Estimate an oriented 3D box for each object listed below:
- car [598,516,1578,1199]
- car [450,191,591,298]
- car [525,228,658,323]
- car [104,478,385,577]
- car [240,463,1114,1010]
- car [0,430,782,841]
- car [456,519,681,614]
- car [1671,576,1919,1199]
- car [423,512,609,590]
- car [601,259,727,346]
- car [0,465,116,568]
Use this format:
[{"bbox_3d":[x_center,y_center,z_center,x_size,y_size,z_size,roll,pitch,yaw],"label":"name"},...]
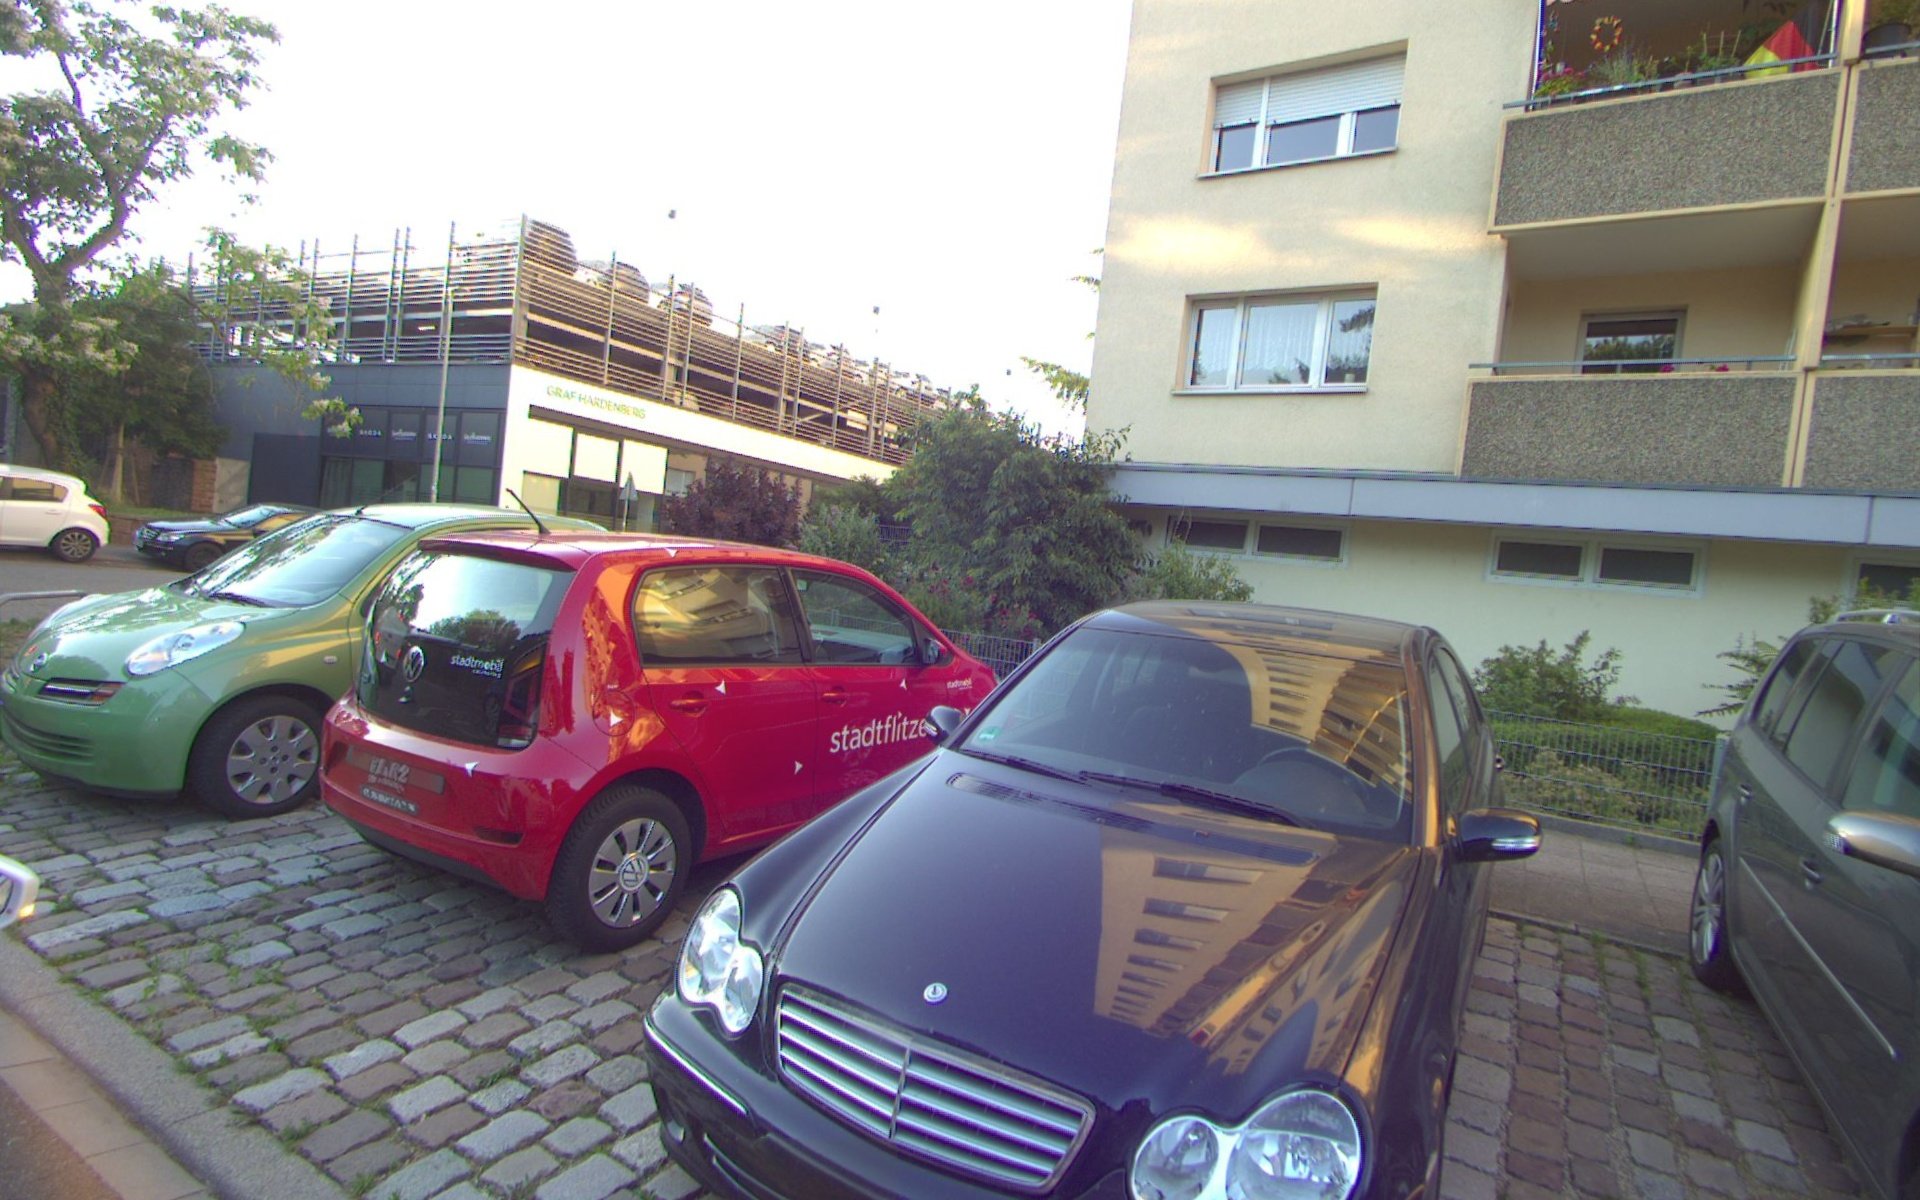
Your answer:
[{"bbox_3d":[1.043,0.697,3.804,1.814,1.551,4.407,5,1,28],"label":"car"},{"bbox_3d":[-13.197,-10.540,30.153,3.938,2.039,1.994,7,0,36],"label":"car"},{"bbox_3d":[-11.878,-10.340,32.360,3.938,2.039,1.994,7,0,36],"label":"car"},{"bbox_3d":[-14.510,-1.425,20.640,1.794,1.523,4.290,7,2,35],"label":"car"},{"bbox_3d":[-0.970,0.334,5.428,1.815,1.655,4.398,7,5,32],"label":"car"},{"bbox_3d":[-3.280,0.134,6.410,1.814,1.653,4.407,5,1,28],"label":"car"},{"bbox_3d":[-7.838,-0.626,20.443,1.794,1.544,3.835,7,2,35],"label":"car"},{"bbox_3d":[3.393,0.846,2.647,1.814,1.684,4.405,5,3,28],"label":"car"},{"bbox_3d":[-11.086,-1.194,25.330,1.794,1.523,3.835,7,2,35],"label":"car"},{"bbox_3d":[-10.173,-10.117,34.533,3.938,2.039,1.994,7,0,36],"label":"car"},{"bbox_3d":[-17.102,-1.593,16.979,1.924,1.594,3.861,8,1,28],"label":"car"}]
